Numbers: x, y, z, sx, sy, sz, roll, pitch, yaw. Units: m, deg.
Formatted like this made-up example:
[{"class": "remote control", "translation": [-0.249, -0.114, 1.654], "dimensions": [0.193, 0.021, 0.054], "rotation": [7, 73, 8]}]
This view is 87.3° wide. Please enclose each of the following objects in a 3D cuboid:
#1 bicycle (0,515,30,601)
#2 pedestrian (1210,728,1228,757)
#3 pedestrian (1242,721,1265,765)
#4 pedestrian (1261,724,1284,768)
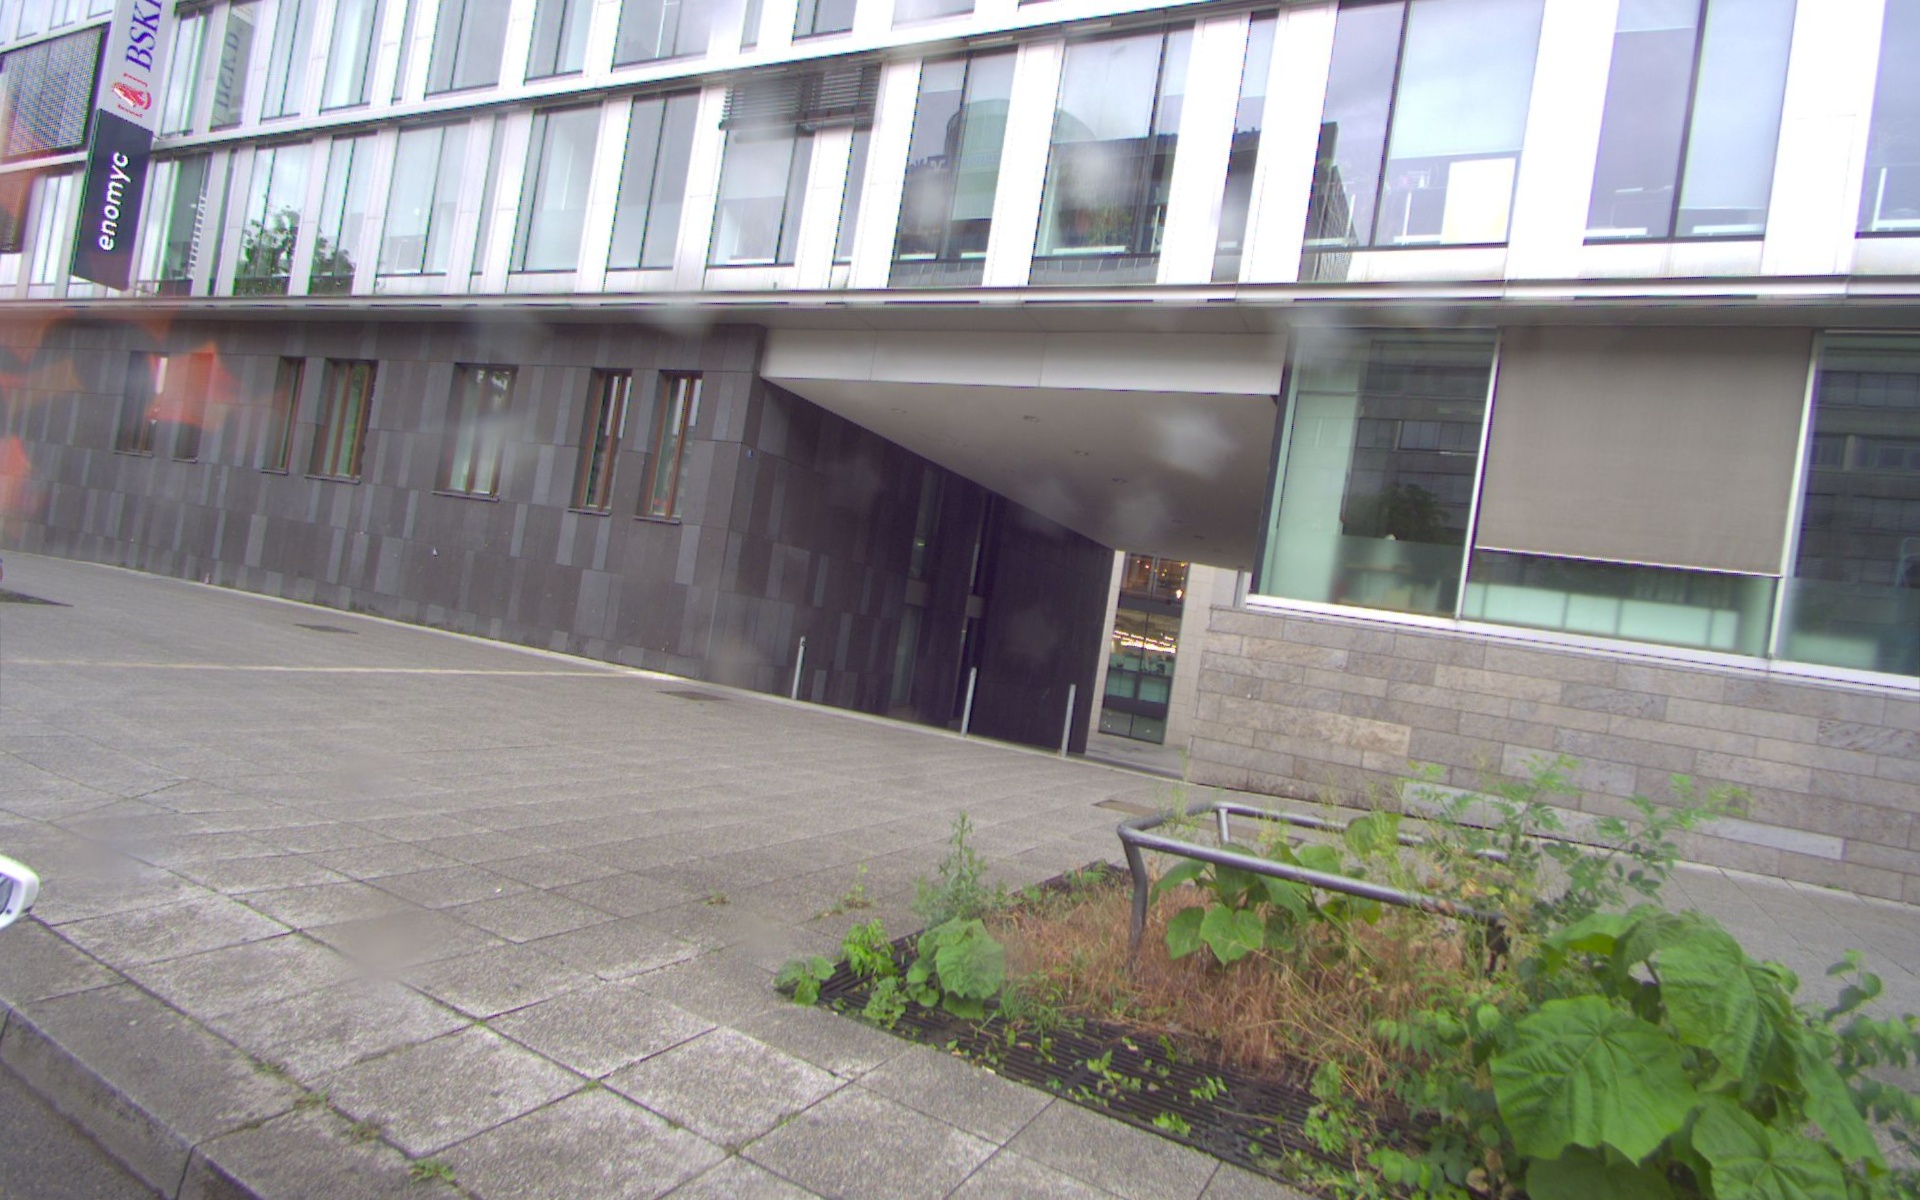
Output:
[{"class": "bicycle", "translation": [-12.897, -0.632, 12.524], "dimensions": [0.676, 1.082, 1.736], "rotation": [7, -1, 22]}, {"class": "pedestrian", "translation": [11.882, 6.529, 46.134], "dimensions": [0.556, 1.256, 0.463], "rotation": [7, -3, 24]}, {"class": "pedestrian", "translation": [13.048, 6.351, 44.708], "dimensions": [0.689, 1.795, 0.593], "rotation": [7, -3, 24]}, {"class": "pedestrian", "translation": [13.787, 6.434, 44.329], "dimensions": [0.689, 1.795, 0.593], "rotation": [7, -3, 24]}]
